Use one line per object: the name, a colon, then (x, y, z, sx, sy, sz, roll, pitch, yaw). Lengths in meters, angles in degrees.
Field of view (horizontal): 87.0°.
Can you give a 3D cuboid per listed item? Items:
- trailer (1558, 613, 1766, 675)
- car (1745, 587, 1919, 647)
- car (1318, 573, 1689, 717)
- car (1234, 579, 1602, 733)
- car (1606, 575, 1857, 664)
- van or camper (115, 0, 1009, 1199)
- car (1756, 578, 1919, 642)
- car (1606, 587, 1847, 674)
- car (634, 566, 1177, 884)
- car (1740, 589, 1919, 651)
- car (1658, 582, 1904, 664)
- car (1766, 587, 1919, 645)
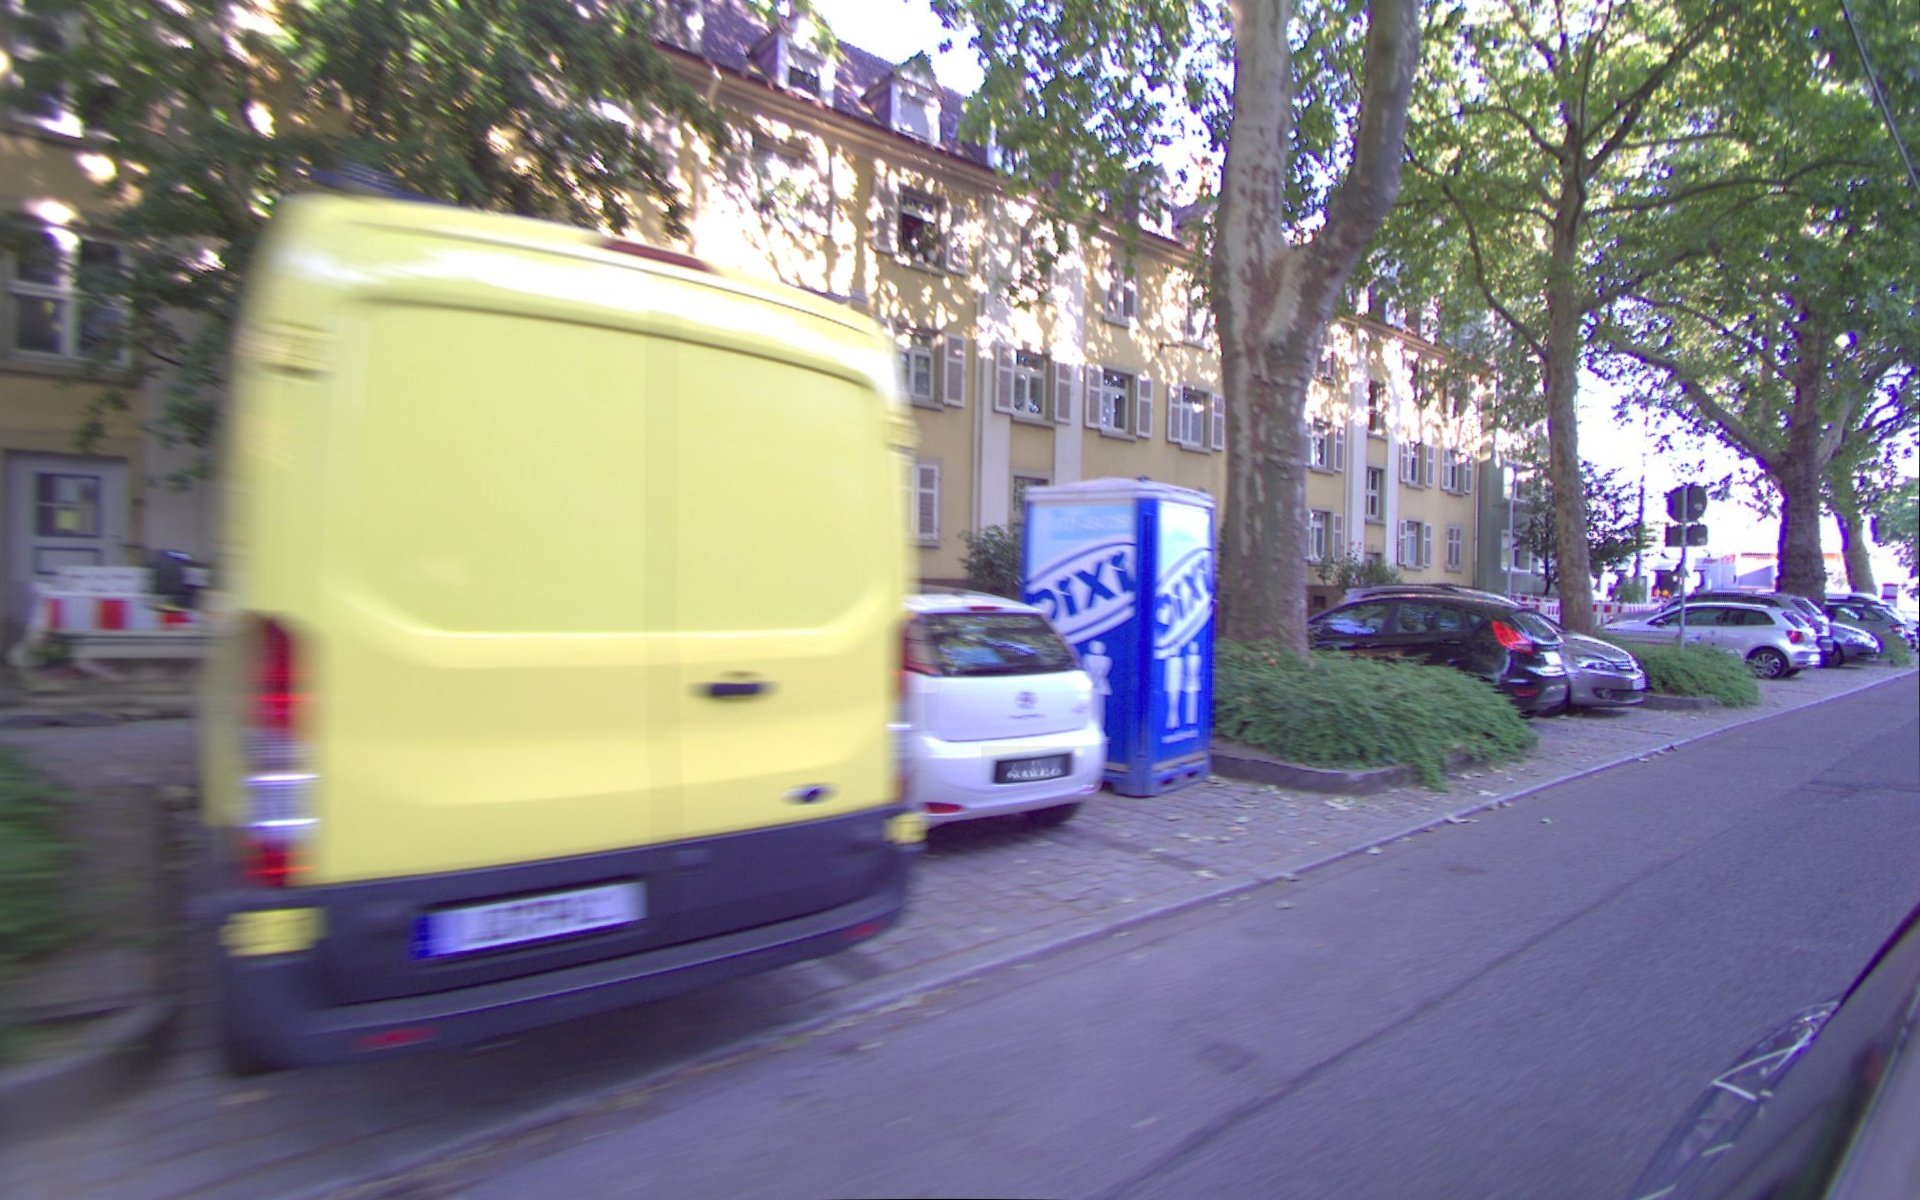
trailer: (13.767, 0.822, 19.973, 1.408, 0.914, 3.053, 0, 3, -34)
car: (26.959, 0.489, 30.899, 1.785, 1.542, 4.411, 1, 2, -40)
car: (7.279, 0.476, 13.879, 1.798, 1.568, 4.085, 0, 3, -41)
car: (5.396, 0.539, 12.221, 1.708, 1.444, 3.657, 0, 3, -43)
car: (18.022, 0.391, 23.836, 1.806, 1.752, 4.323, 1, 2, -36)
van or camper: (-2.541, -0.020, 4.968, 2.229, 2.661, 5.942, -1, 3, -38)
car: (30.531, 0.304, 34.420, 1.881, 1.878, 5.124, -1, 4, -40)
car: (16.015, 0.568, 21.278, 1.832, 1.441, 3.662, 1, 3, -39)
car: (-0.638, 0.556, 7.014, 1.829, 1.508, 3.917, 0, 2, -38)
car: (24.974, 0.524, 29.014, 1.712, 1.515, 3.886, 0, 3, -43)
car: (20.047, 0.483, 24.870, 1.875, 1.677, 4.433, 0, 3, -42)
car: (28.699, 0.477, 32.672, 1.764, 1.625, 3.882, 1, 2, -41)
